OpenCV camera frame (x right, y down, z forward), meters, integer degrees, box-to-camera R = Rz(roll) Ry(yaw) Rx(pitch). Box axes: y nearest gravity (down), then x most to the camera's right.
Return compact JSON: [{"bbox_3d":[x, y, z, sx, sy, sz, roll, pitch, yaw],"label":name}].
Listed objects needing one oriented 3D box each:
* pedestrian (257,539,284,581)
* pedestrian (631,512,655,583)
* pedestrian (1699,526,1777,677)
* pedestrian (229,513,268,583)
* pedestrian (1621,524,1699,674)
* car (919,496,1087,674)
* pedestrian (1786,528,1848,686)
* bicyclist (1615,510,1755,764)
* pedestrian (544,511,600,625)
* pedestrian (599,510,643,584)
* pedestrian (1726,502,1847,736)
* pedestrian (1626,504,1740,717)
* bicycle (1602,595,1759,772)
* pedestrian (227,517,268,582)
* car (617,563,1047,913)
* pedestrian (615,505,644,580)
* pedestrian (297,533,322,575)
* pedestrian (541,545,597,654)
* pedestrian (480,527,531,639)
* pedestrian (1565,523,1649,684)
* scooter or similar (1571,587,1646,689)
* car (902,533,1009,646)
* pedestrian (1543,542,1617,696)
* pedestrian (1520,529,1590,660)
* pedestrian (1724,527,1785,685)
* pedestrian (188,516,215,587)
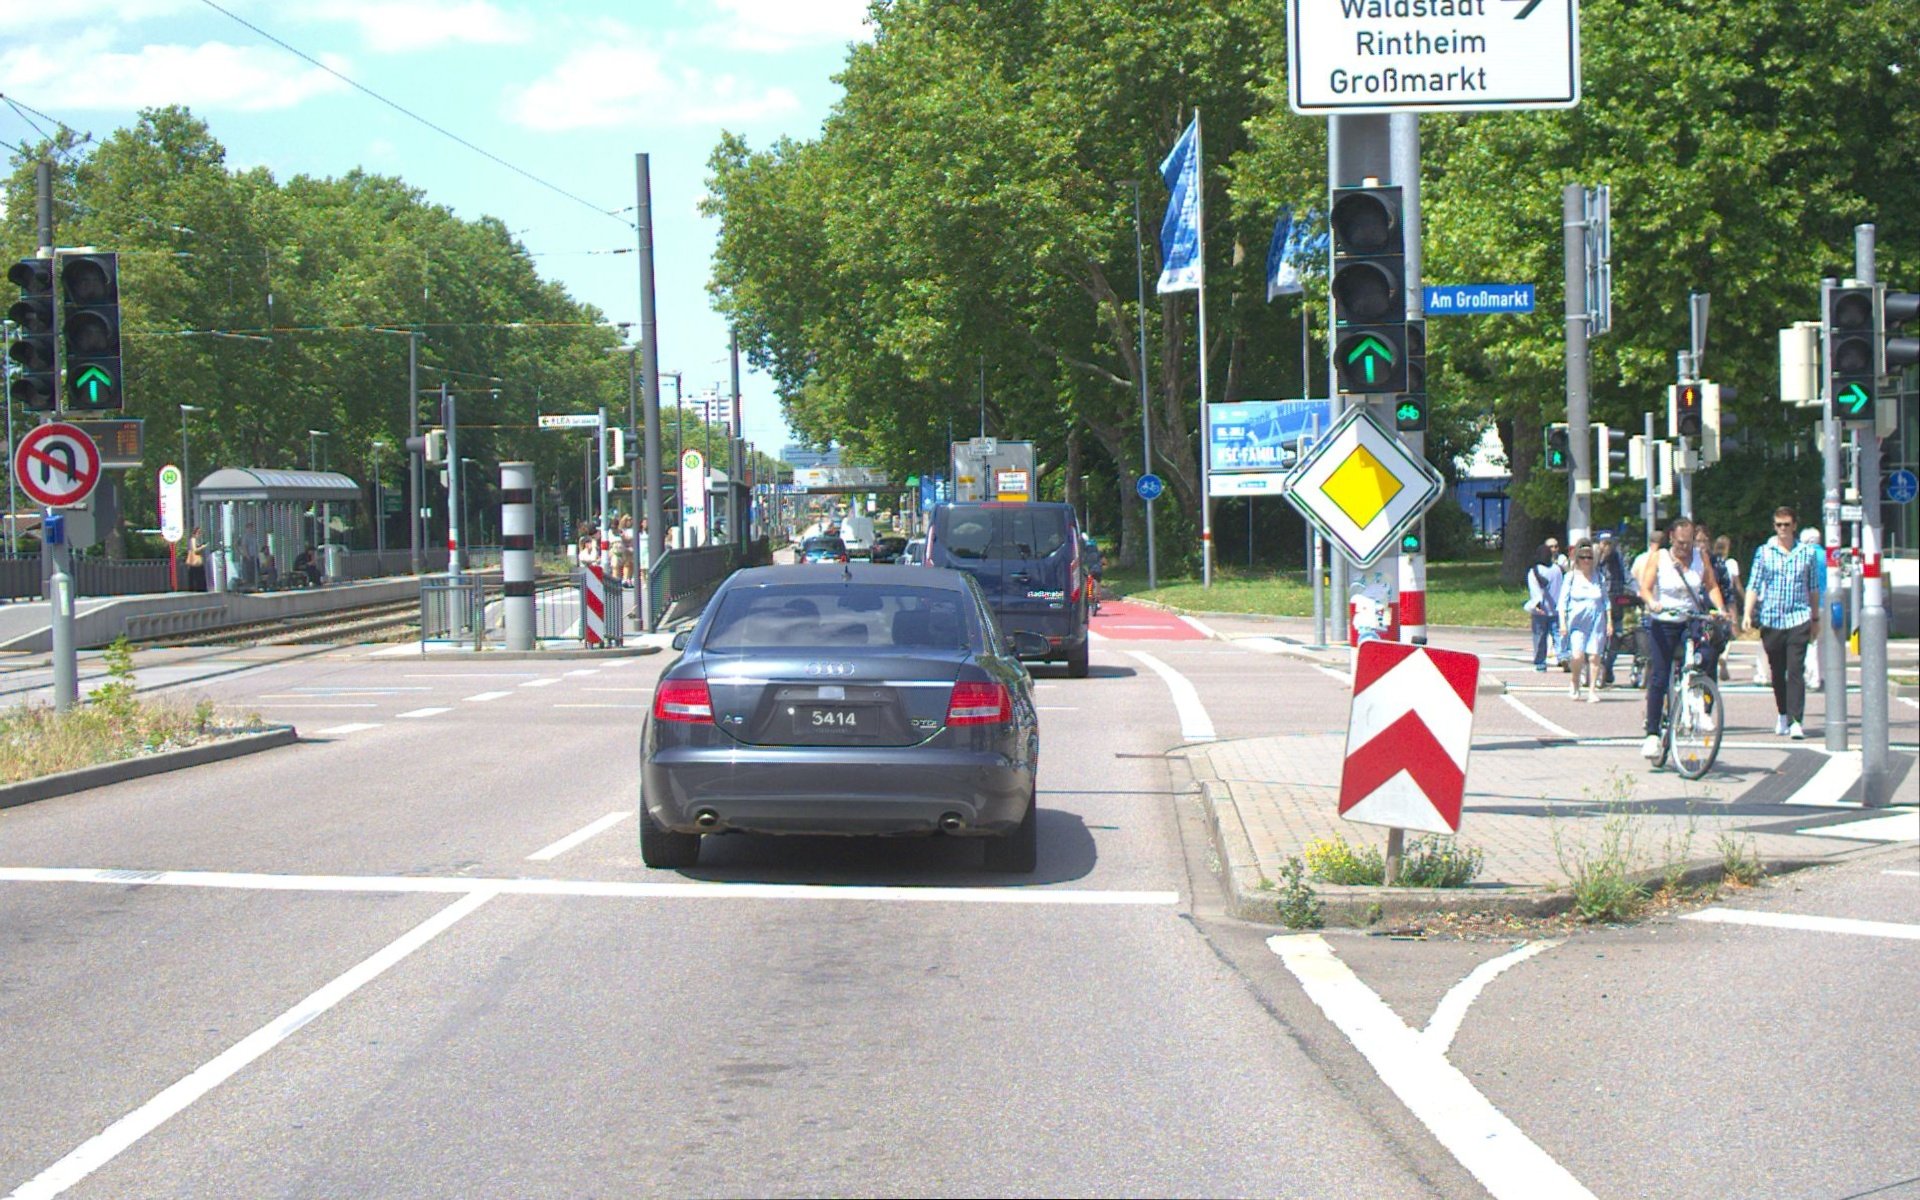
[{"bbox_3d":[-18.034,-1.049,89.947,0.576,1.091,0.639,-1,1,-1],"label":"pedestrian"},{"bbox_3d":[-7.075,-1.173,76.684,0.497,1.572,0.557,-1,1,-3],"label":"pedestrian"},{"bbox_3d":[8.648,0.007,38.202,0.795,1.653,0.851,0,1,15],"label":"pedestrian"},{"bbox_3d":[-17.743,-1.300,85.740,0.738,1.723,0.577,0,2,36],"label":"pedestrian"},{"bbox_3d":[7.791,-0.022,38.242,0.795,1.653,0.851,0,1,15],"label":"pedestrian"},{"bbox_3d":[0.477,-0.212,40.105,1.848,1.953,4.145,0,1,0],"label":"car"},{"bbox_3d":[8.938,0.072,35.871,0.602,1.632,0.863,0,0,13],"label":"pedestrian"},{"bbox_3d":[4.944,0.253,23.470,0.814,1.695,0.799,0,-1,3],"label":"bicyclist"},{"bbox_3d":[-6.167,-0.509,54.648,0.862,1.796,0.884,0,1,-5],"label":"pedestrian"},{"bbox_3d":[-7.372,-1.165,74.840,0.890,1.599,0.924,0,1,-3],"label":"pedestrian"},{"bbox_3d":[6.694,0.143,27.881,0.803,1.858,0.797,0,1,3],"label":"pedestrian"},{"bbox_3d":[6.061,0.077,28.836,0.803,1.753,0.797,0,1,3],"label":"pedestrian"},{"bbox_3d":[4.889,0.546,23.428,0.829,1.158,1.878,0,0,5],"label":"bicycle"},{"bbox_3d":[-18.099,-1.283,87.286,0.827,1.633,0.577,0,2,36],"label":"pedestrian"},{"bbox_3d":[-0.546,0.575,16.844,1.842,1.479,4.000,1,1,0],"label":"car"},{"bbox_3d":[-7.495,-1.306,78.009,0.613,1.675,0.720,0,1,-4],"label":"pedestrian"},{"bbox_3d":[-18.443,-1.300,97.544,0.576,1.186,0.639,-1,1,-1],"label":"pedestrian"},{"bbox_3d":[-5.706,-0.014,50.234,0.785,1.567,0.765,0,1,-5],"label":"pedestrian"},{"bbox_3d":[-6.824,-0.266,51.645,0.732,1.667,0.678,0,1,-5],"label":"pedestrian"},{"bbox_3d":[6.814,0.027,36.249,0.782,1.667,0.946,0,1,5],"label":"pedestrian"},{"bbox_3d":[6.729,0.387,35.689,0.690,1.027,0.863,0,1,6],"label":"scooter or similar"},{"bbox_3d":[-0.081,-0.226,62.213,1.848,1.953,4.145,0,1,0],"label":"car"},{"bbox_3d":[6.052,0.176,33.575,0.589,1.471,0.806,1,1,4],"label":"pedestrian"},{"bbox_3d":[7.403,-0.077,42.755,0.766,1.600,0.896,0,1,16],"label":"pedestrian"},{"bbox_3d":[8.340,0.062,36.083,0.606,1.632,0.863,0,0,13],"label":"pedestrian"},{"bbox_3d":[-17.734,-1.137,80.421,0.557,1.632,0.807,-1,1,-9],"label":"pedestrian"}]
